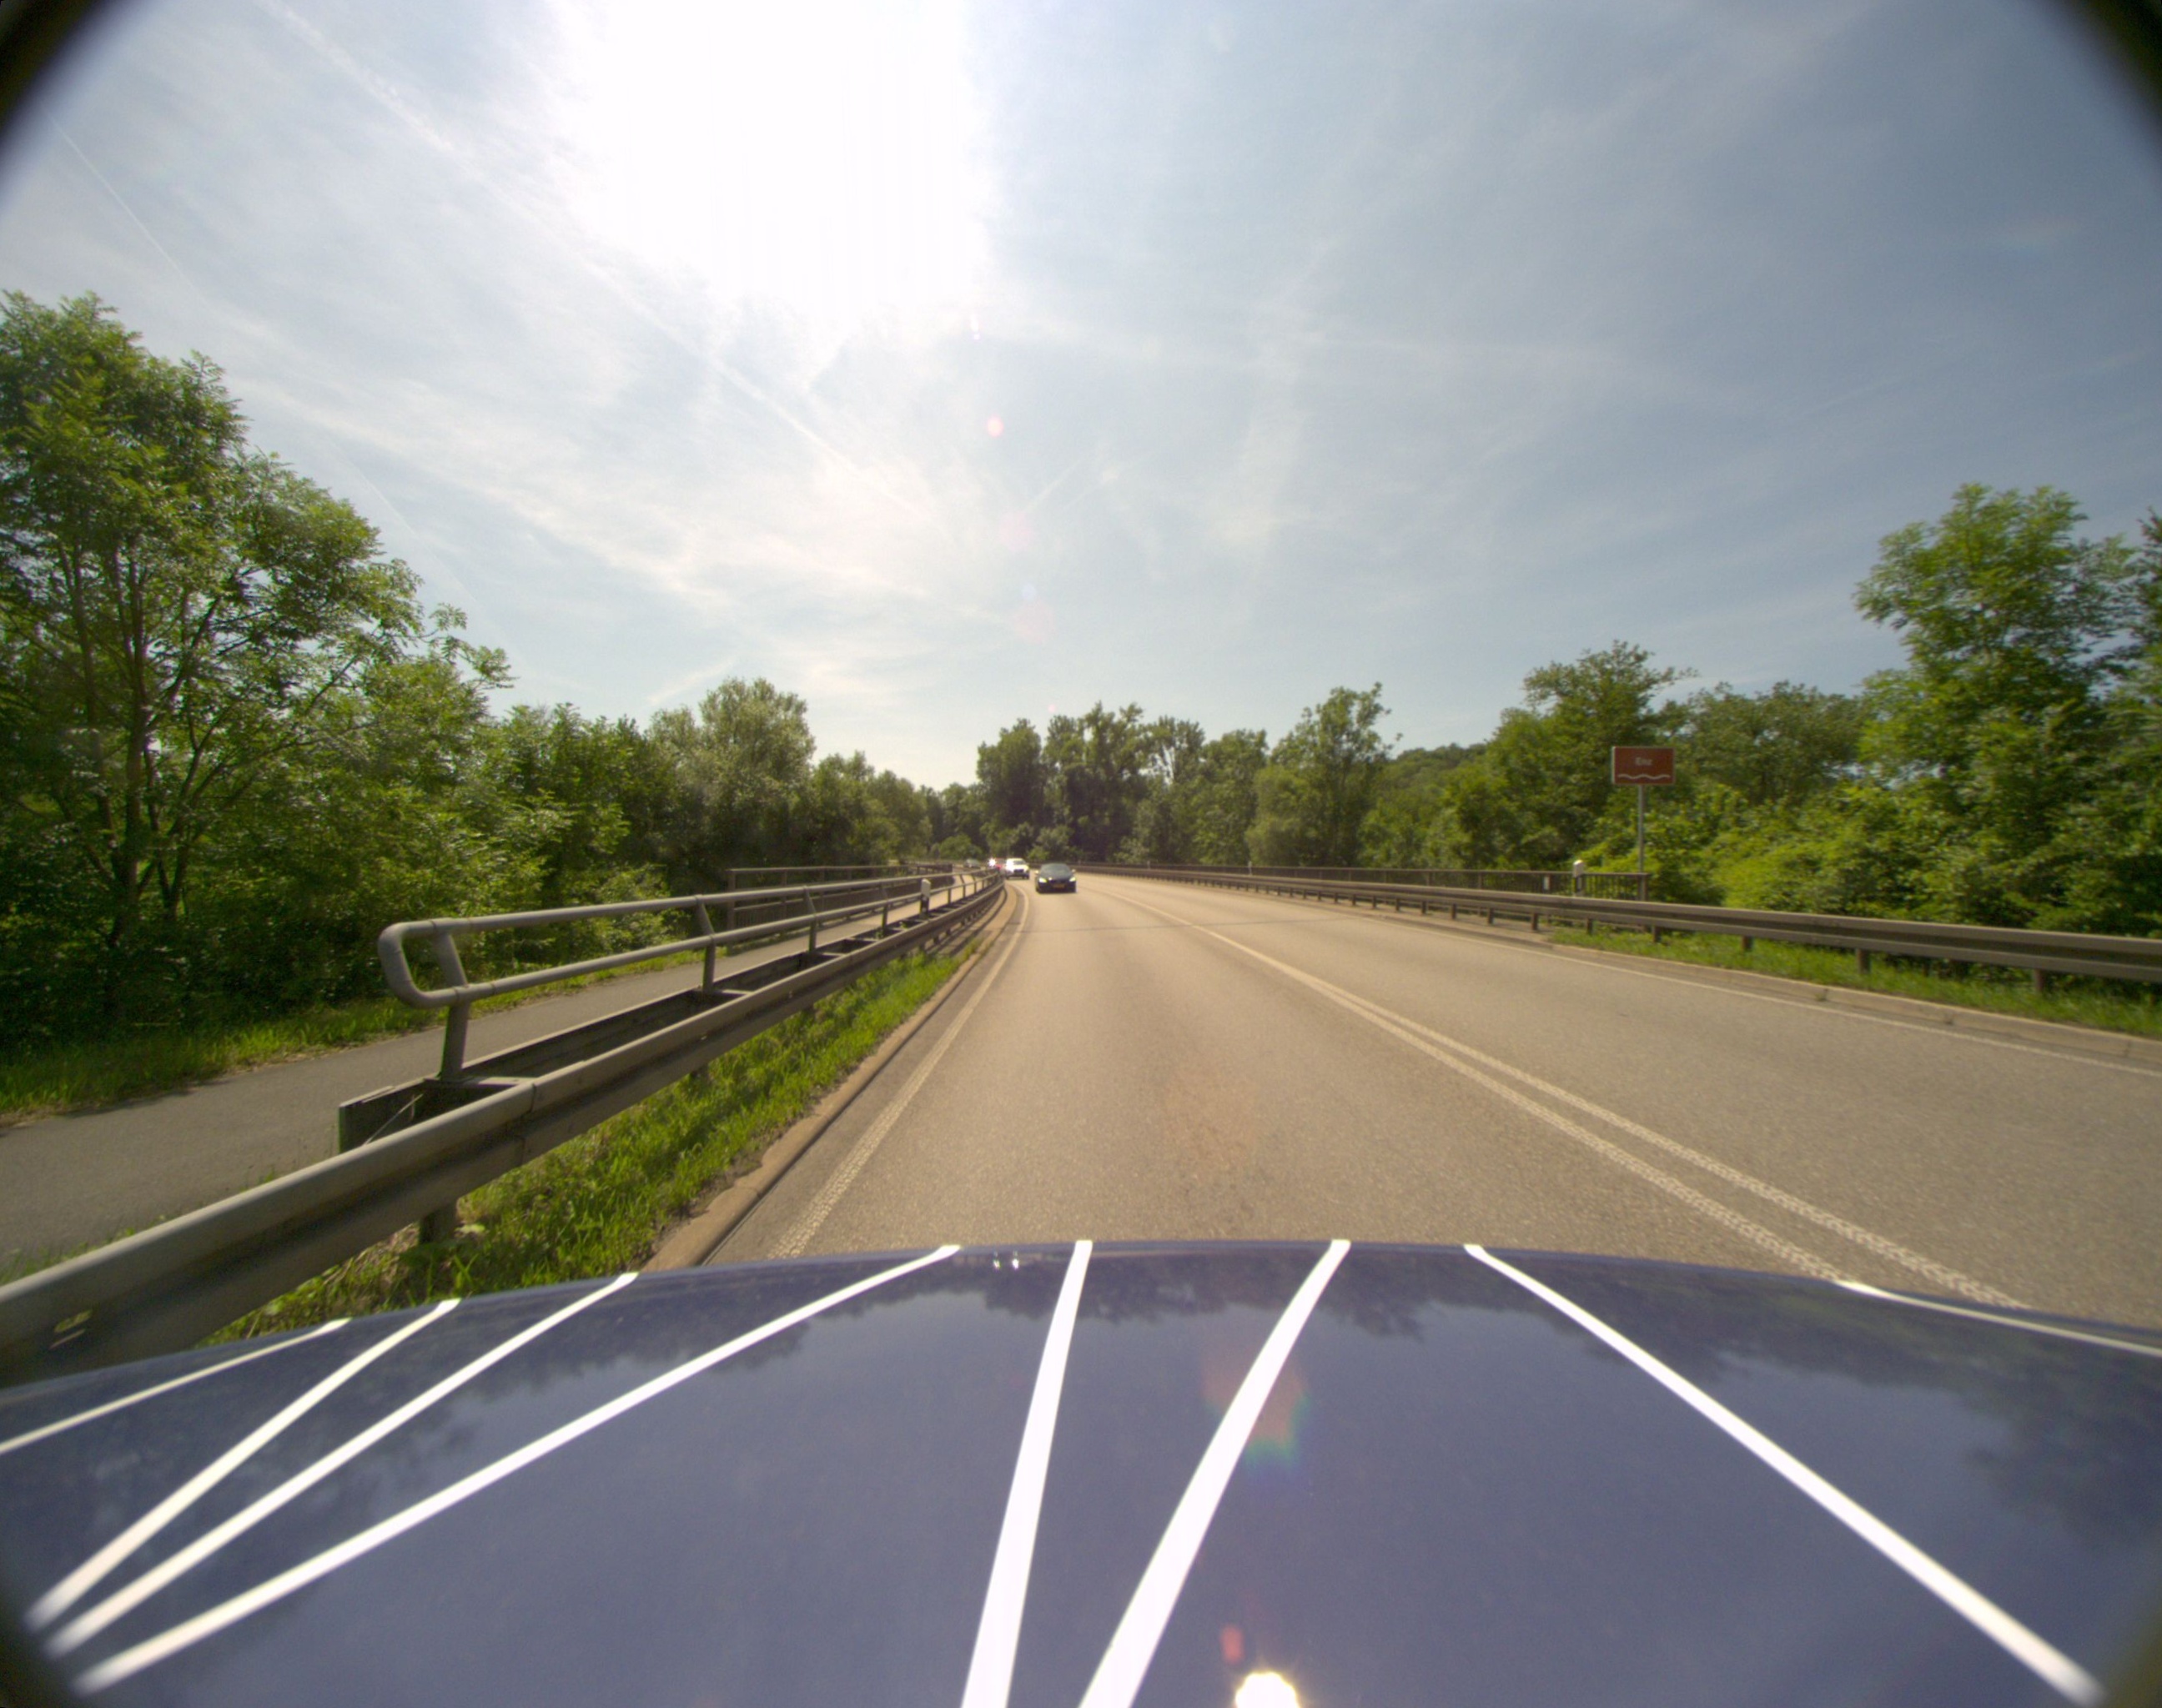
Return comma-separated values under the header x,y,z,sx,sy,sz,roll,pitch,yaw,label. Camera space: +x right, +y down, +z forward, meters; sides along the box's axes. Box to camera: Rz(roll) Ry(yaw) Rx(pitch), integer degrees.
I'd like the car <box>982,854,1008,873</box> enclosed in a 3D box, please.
x,y,z,sx,sy,sz,roll,pitch,yaw,label
-8.626,0.976,75.783,2.001,1.765,3.996,-4,0,-14,car

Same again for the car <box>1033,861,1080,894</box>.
x,y,z,sx,sy,sz,roll,pitch,yaw,label
-1.277,1.129,37.289,1.910,1.413,3.947,-2,0,-7,car

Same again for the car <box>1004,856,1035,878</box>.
x,y,z,sx,sy,sz,roll,pitch,yaw,label
-5.015,1.029,61.417,1.911,1.637,3.946,-2,-1,-12,car

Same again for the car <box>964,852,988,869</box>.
x,y,z,sx,sy,sz,roll,pitch,yaw,label
-12.990,0.778,93.971,2.002,2.002,3.993,-3,1,-20,car
